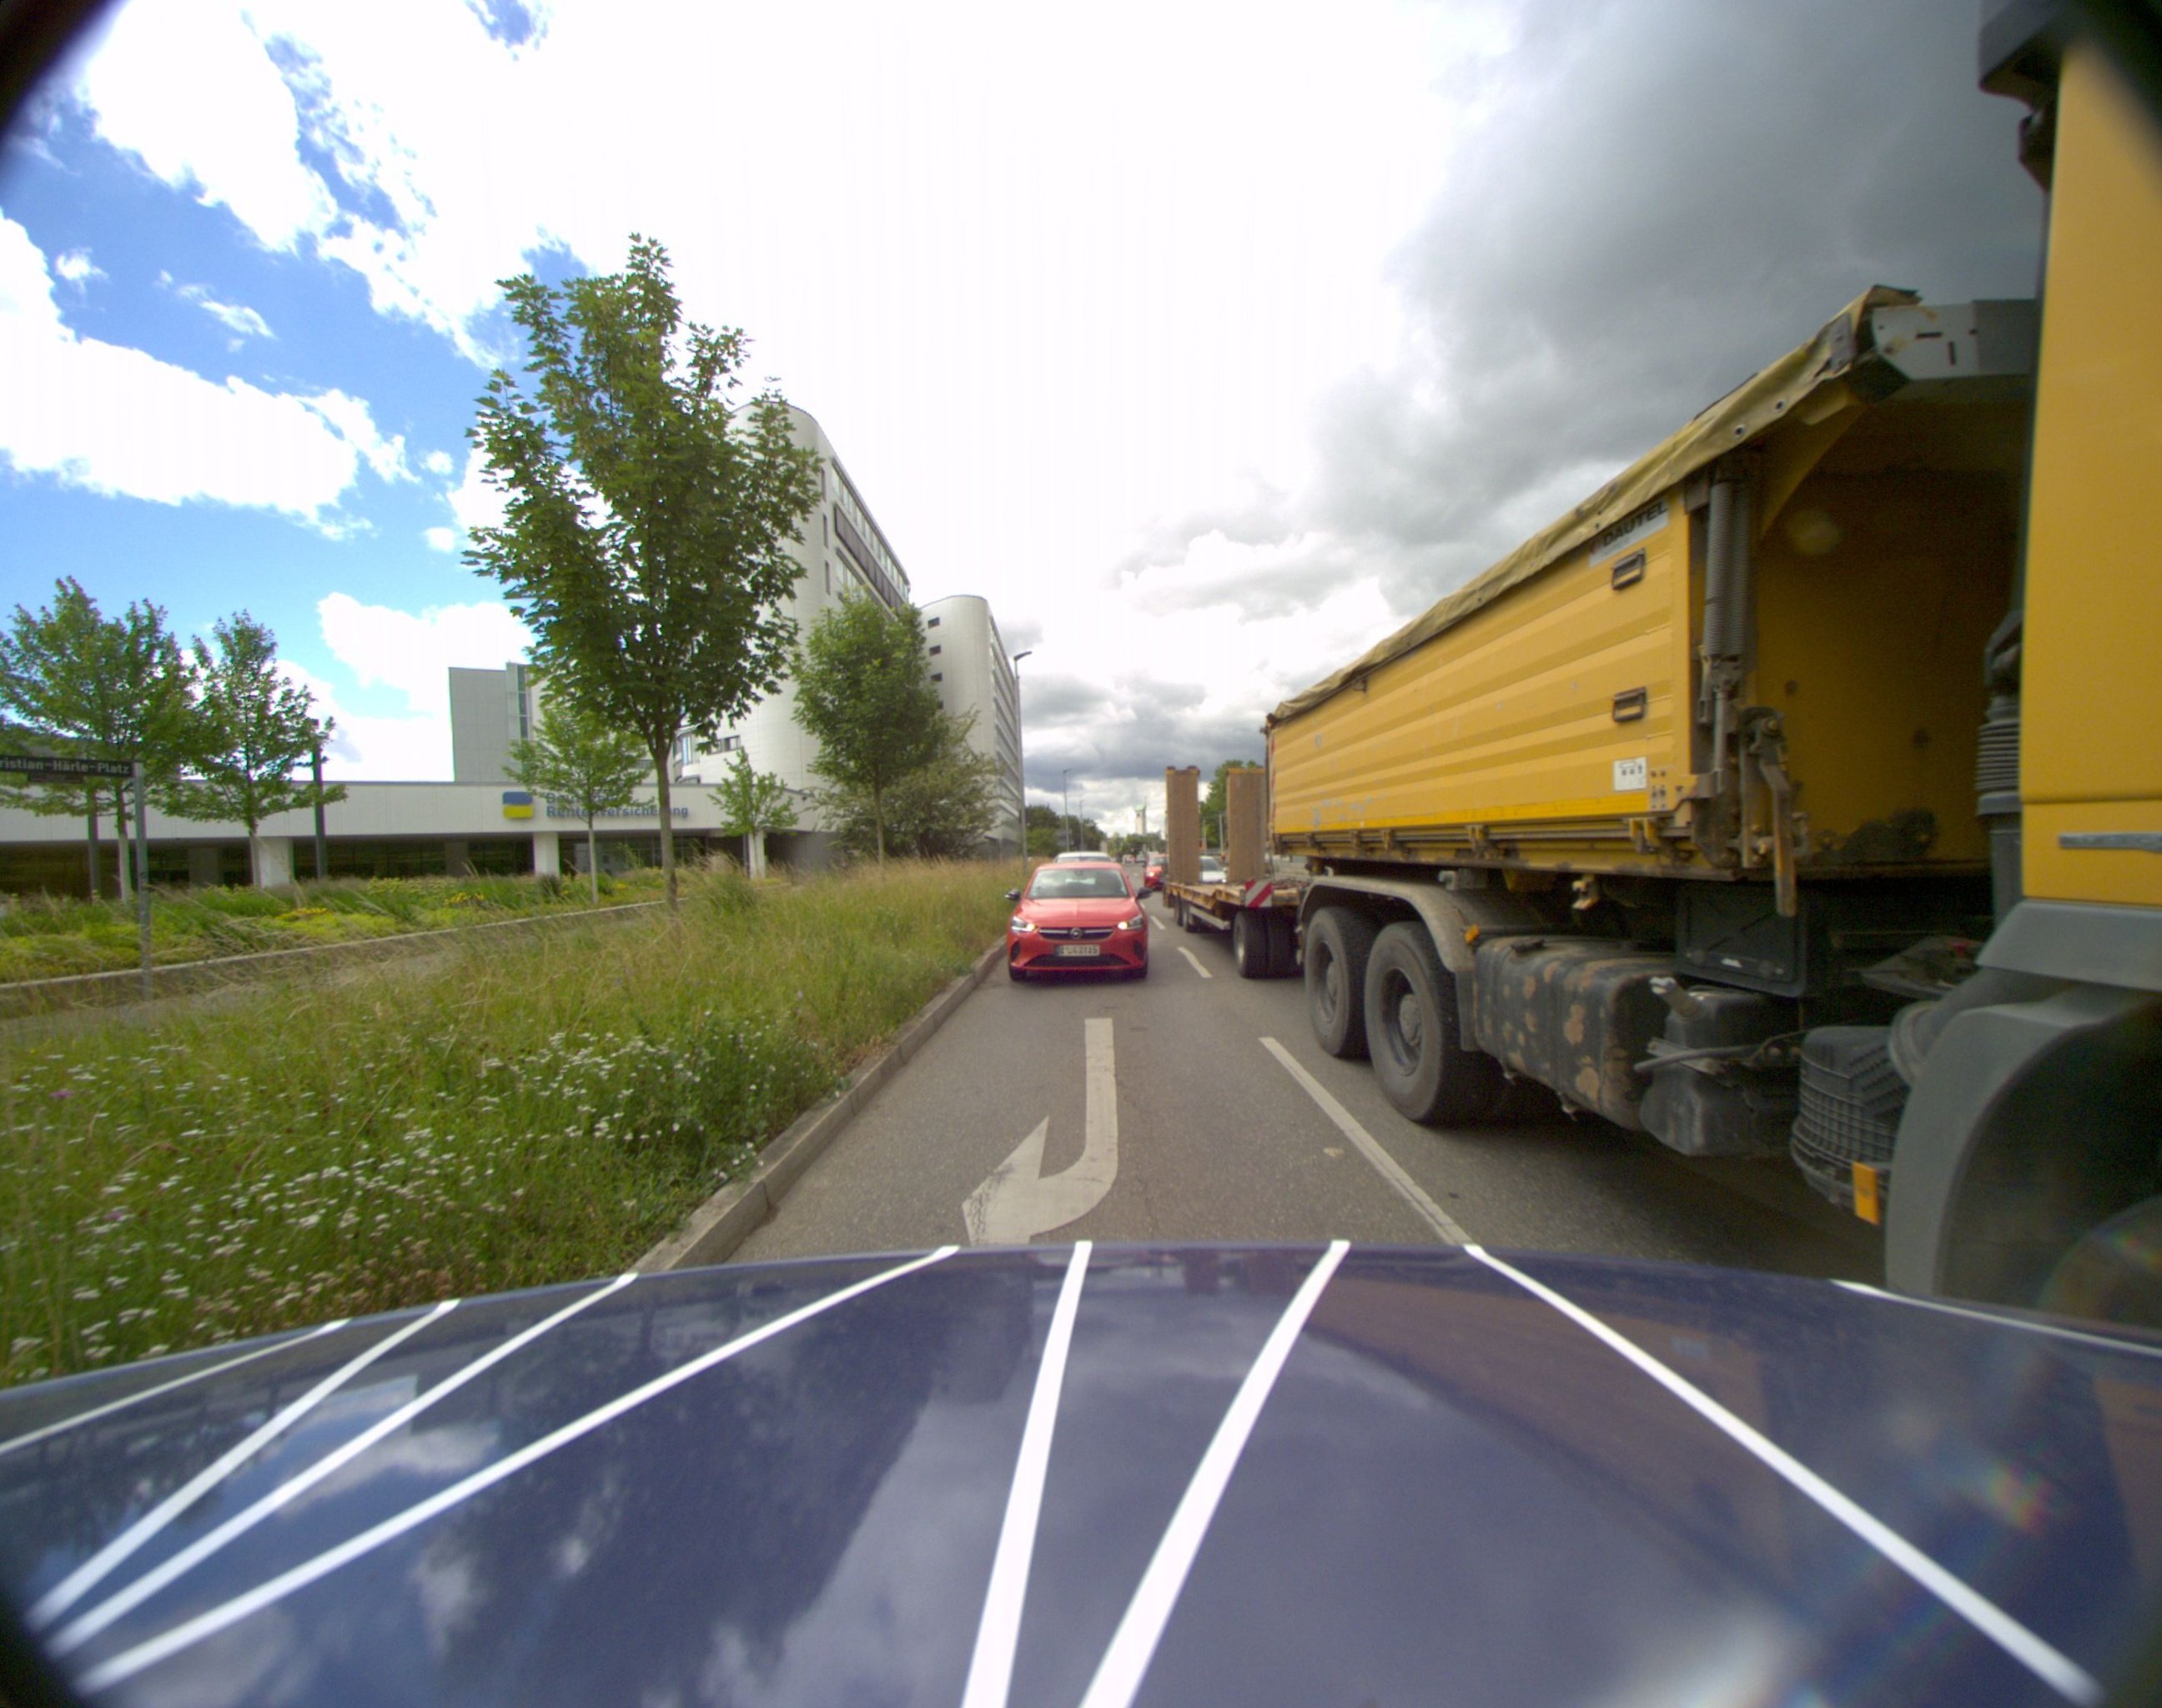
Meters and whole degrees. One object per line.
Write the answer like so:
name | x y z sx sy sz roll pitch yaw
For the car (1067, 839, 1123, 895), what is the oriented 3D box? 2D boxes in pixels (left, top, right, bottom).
car | 0.563 0.476 29.846 1.998 2.002 4.000 -2 0 2

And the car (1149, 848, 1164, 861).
car | 10.988 0.093 111.086 1.887 1.761 4.864 -2 0 2

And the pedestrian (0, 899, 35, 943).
pedestrian | -32.352 2.017 22.872 0.703 1.266 0.887 -1 1 45

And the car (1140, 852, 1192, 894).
car | 3.375 0.709 30.793 1.692 1.471 4.000 -2 1 2

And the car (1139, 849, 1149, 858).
car | 11.170 -0.035 135.220 1.644 1.489 3.554 -2 0 2

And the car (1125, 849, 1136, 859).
car | 10.471 -0.061 160.431 1.998 2.002 4.000 -2 0 2

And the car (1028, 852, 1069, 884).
car | -1.654 0.682 40.320 1.850 1.565 4.623 -2 0 1

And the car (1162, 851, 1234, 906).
car | 3.572 0.696 23.719 1.692 1.471 4.000 -2 1 2

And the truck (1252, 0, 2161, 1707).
truck | 2.865 0.116 3.065 2.726 2.986 7.778 -2 1 2

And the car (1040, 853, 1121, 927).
car | 0.011 0.784 18.412 1.738 1.565 3.445 -2 0 1

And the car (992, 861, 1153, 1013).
car | -0.035 0.921 10.220 1.692 1.471 4.000 -2 1 2

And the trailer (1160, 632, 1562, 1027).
trailer | 3.125 -0.246 12.381 2.713 3.501 10.914 -2 0 2

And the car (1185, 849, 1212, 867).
car | 10.131 0.317 65.575 1.781 1.461 4.044 -2 0 2

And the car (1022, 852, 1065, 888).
car | -1.689 0.702 35.180 1.738 1.565 3.445 -2 0 1

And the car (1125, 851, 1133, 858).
car | 11.702 0.088 186.112 1.770 1.489 3.554 -2 0 2
